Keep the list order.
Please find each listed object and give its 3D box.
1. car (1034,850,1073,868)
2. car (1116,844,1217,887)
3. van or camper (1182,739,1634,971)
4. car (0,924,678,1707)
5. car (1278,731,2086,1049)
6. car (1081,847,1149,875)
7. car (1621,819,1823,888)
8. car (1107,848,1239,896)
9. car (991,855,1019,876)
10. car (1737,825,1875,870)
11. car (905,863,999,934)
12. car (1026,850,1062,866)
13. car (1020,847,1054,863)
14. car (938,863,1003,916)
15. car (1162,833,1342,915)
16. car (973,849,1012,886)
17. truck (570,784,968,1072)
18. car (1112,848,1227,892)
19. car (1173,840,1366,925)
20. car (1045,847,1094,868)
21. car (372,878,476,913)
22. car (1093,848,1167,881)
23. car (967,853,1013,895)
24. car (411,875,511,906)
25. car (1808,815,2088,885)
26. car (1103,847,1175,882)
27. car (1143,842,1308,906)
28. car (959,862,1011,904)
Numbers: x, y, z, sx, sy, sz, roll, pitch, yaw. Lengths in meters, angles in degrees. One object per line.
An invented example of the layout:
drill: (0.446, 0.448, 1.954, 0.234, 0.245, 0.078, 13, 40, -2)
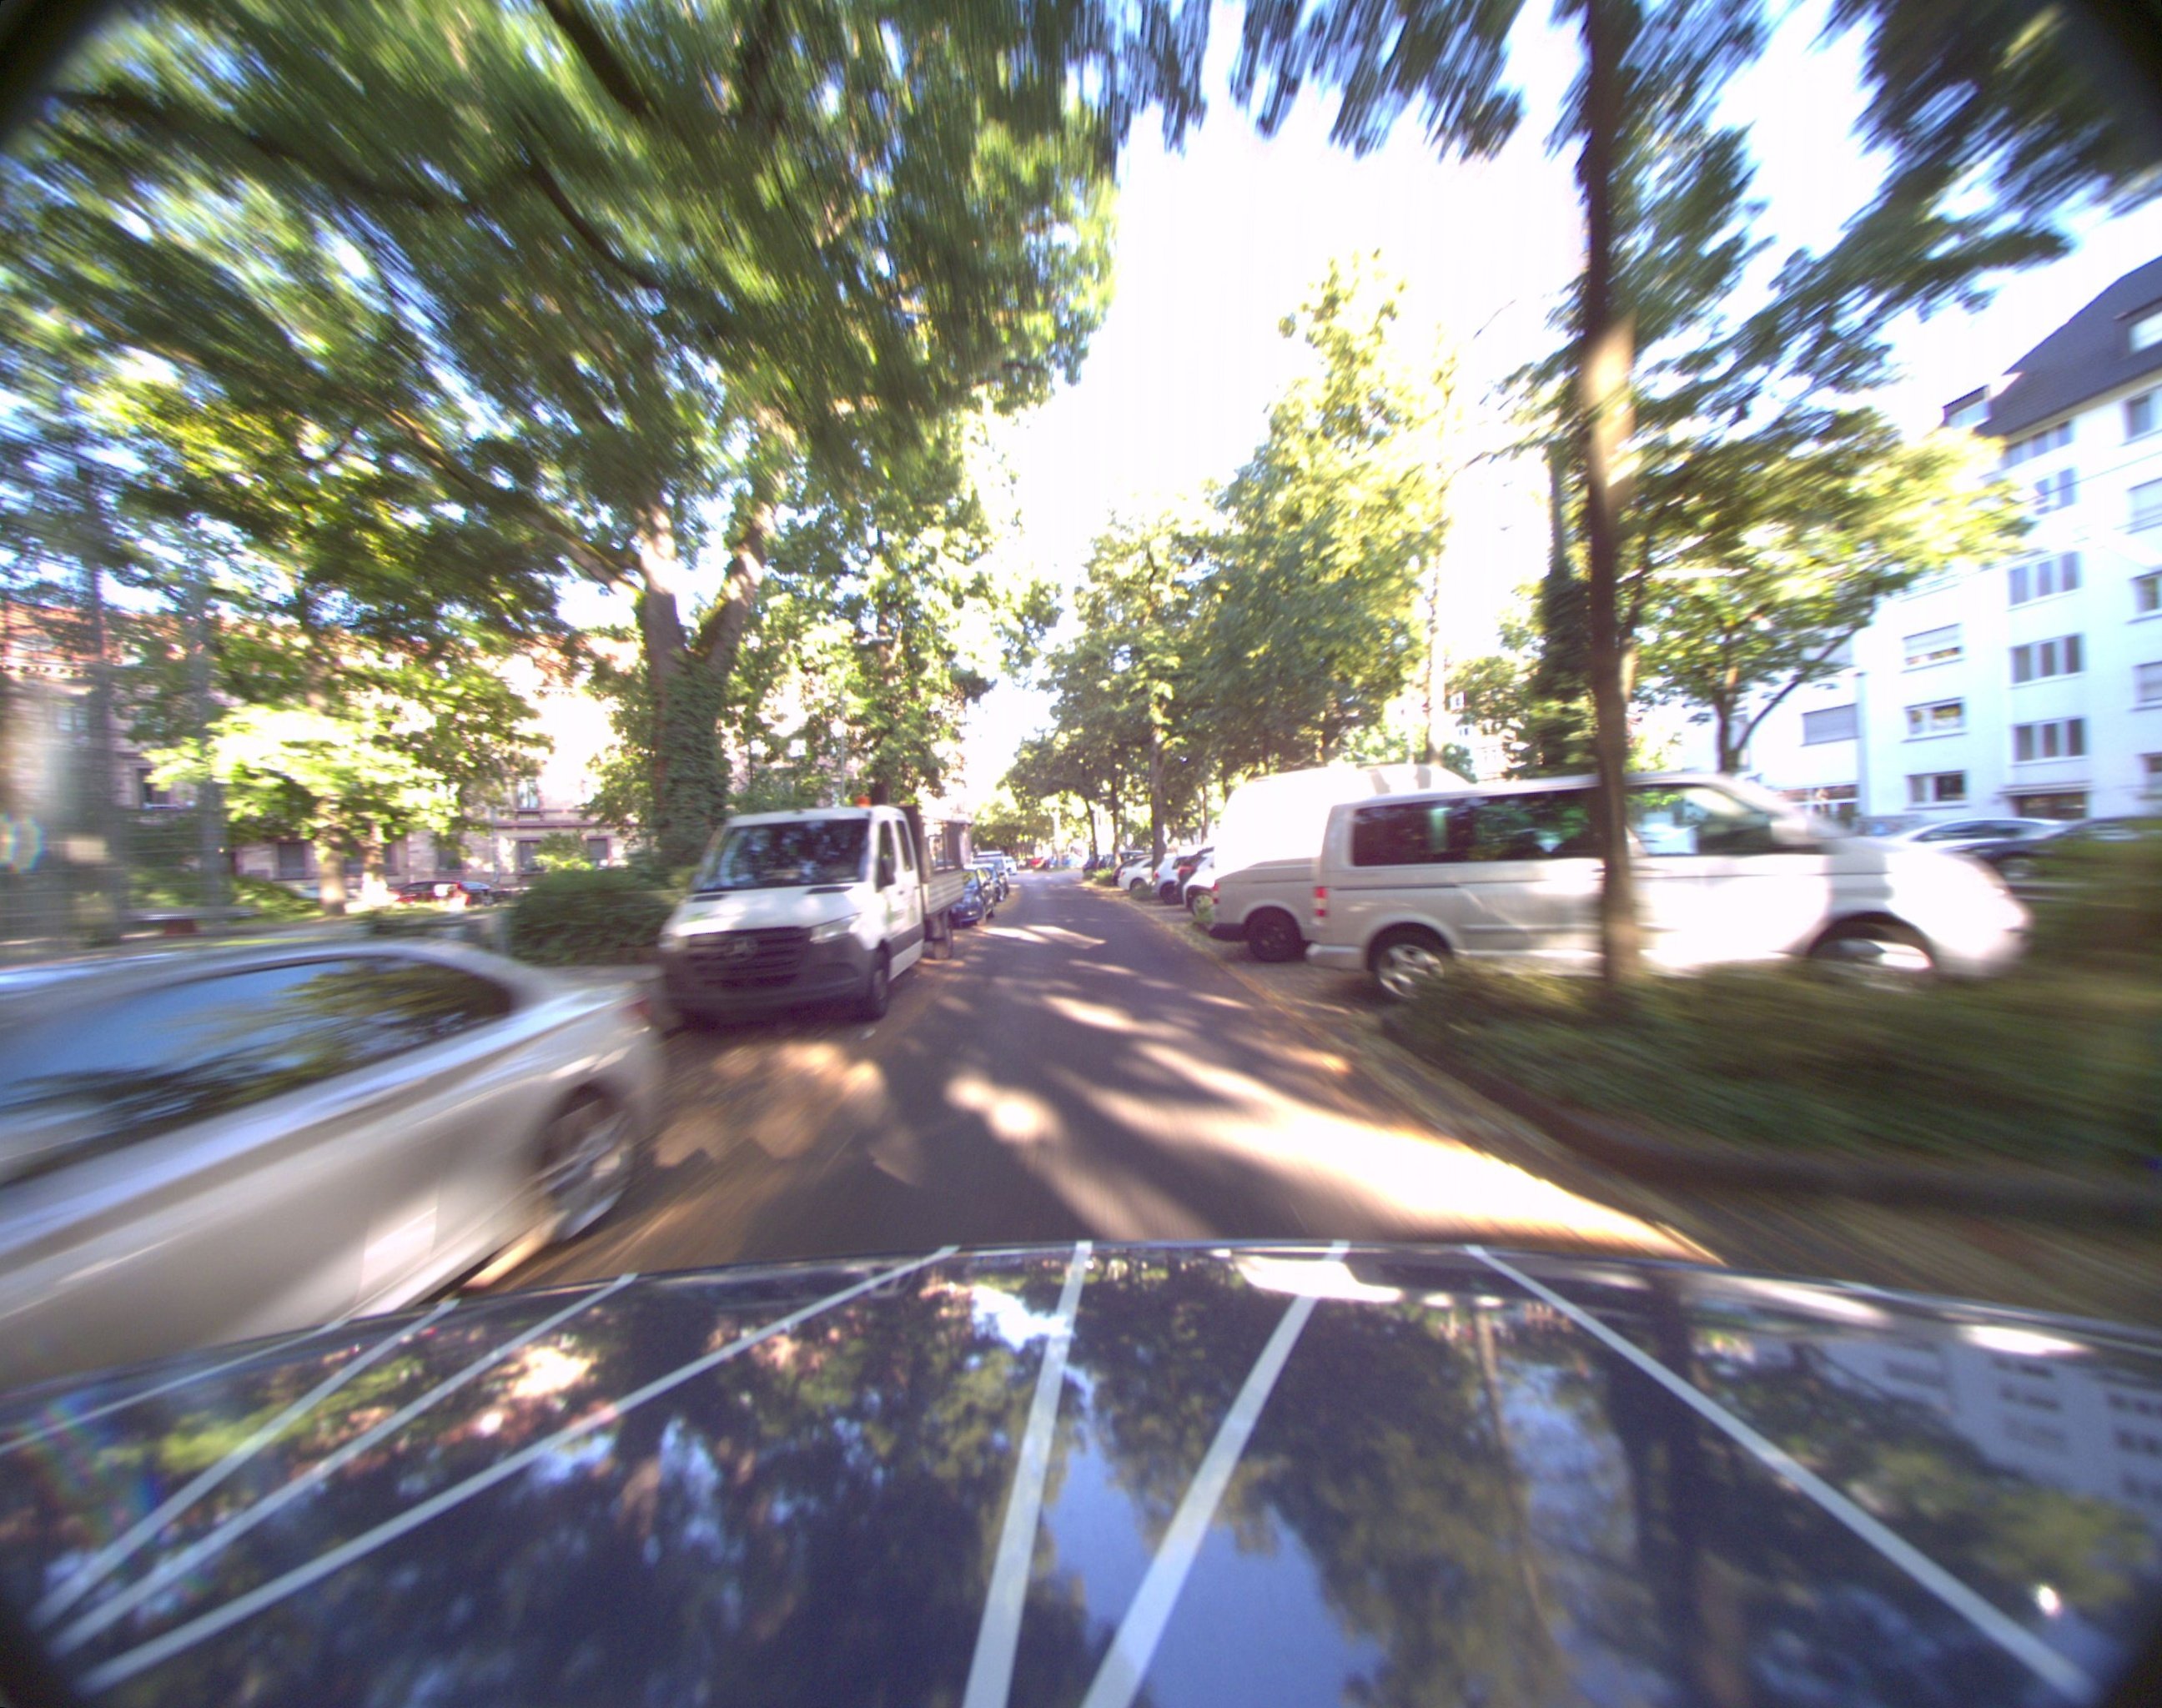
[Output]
car: (-3.289, 0.579, 90.408, 4.235, 1.658, 1.636, -5, 2, 18)
car: (3.819, 0.510, 33.884, 3.992, 1.503, 1.962, -5, 0, 21)
van or camper: (4.110, 0.142, 10.094, 4.875, 2.456, 2.048, -5, 1, 28)
car: (-2.985, 1.106, 1.734, 1.676, 1.389, 4.299, -3, 0, 2)
car: (4.548, 0.349, 6.792, 4.875, 1.966, 2.048, -5, 1, 30)
car: (2.168, 0.449, 48.783, 3.889, 1.440, 1.636, -5, 2, 23)
car: (20.288, 0.015, 24.395, 4.805, 2.002, 2.004, -1, 1, 35)
car: (3.444, 0.682, 28.509, 4.456, 1.396, 1.860, -5, 0, 27)
car: (-6.884, 1.014, 68.842, 1.942, 1.613, 4.239, -6, 1, -12)
car: (27.702, -0.219, 29.214, 1.855, 1.483, 3.508, -5, 0, 0)
car: (-3.098, 1.017, 18.962, 1.677, 1.450, 3.892, -3, 0, -1)
car: (-4.792, 0.548, 99.161, 4.235, 1.658, 1.636, -5, 2, 18)
car: (-6.046, 0.119, 104.873, 4.235, 1.658, 1.636, -5, 2, 18)
car: (-3.522, 1.082, 24.799, 1.677, 1.450, 3.892, -3, 0, -3)
car: (4.331, 0.505, 19.228, 4.032, 1.653, 1.859, -5, 1, 24)
car: (-5.188, 0.721, 44.047, 1.972, 1.924, 5.451, -3, 0, -8)
truck: (-3.201, 0.619, 10.026, 2.301, 2.372, 6.933, -3, 0, 0)
car: (3.655, 0.663, 31.378, 4.305, 1.396, 1.747, -5, 0, 24)
car: (4.060, 0.625, 16.404, 3.542, 1.485, 1.828, -5, 1, 31)
car: (-1.163, 0.346, 76.912, 4.435, 1.613, 1.636, -5, 2, 18)
car: (-30.977, 1.924, 35.950, 3.473, 1.401, 1.795, -1, 1, -34)
car: (2.788, 0.594, 43.142, 3.687, 1.440, 1.636, -5, 2, 23)
car: (-4.054, 0.848, 34.480, 1.792, 1.698, 4.375, -3, 0, -4)
car: (-33.376, 1.941, 41.066, 4.007, 1.401, 1.795, -1, 1, -34)
car: (20.269, -0.070, 18.033, 3.990, 1.419, 1.775, -2, 1, 26)
car: (3.081, 0.542, 40.296, 3.346, 1.559, 1.574, -5, 0, 25)
car: (4.168, 0.585, 22.018, 4.234, 1.432, 1.859, -5, 1, 27)
car: (-3.646, 1.075, 29.517, 1.677, 1.382, 4.264, -3, 0, -3)
